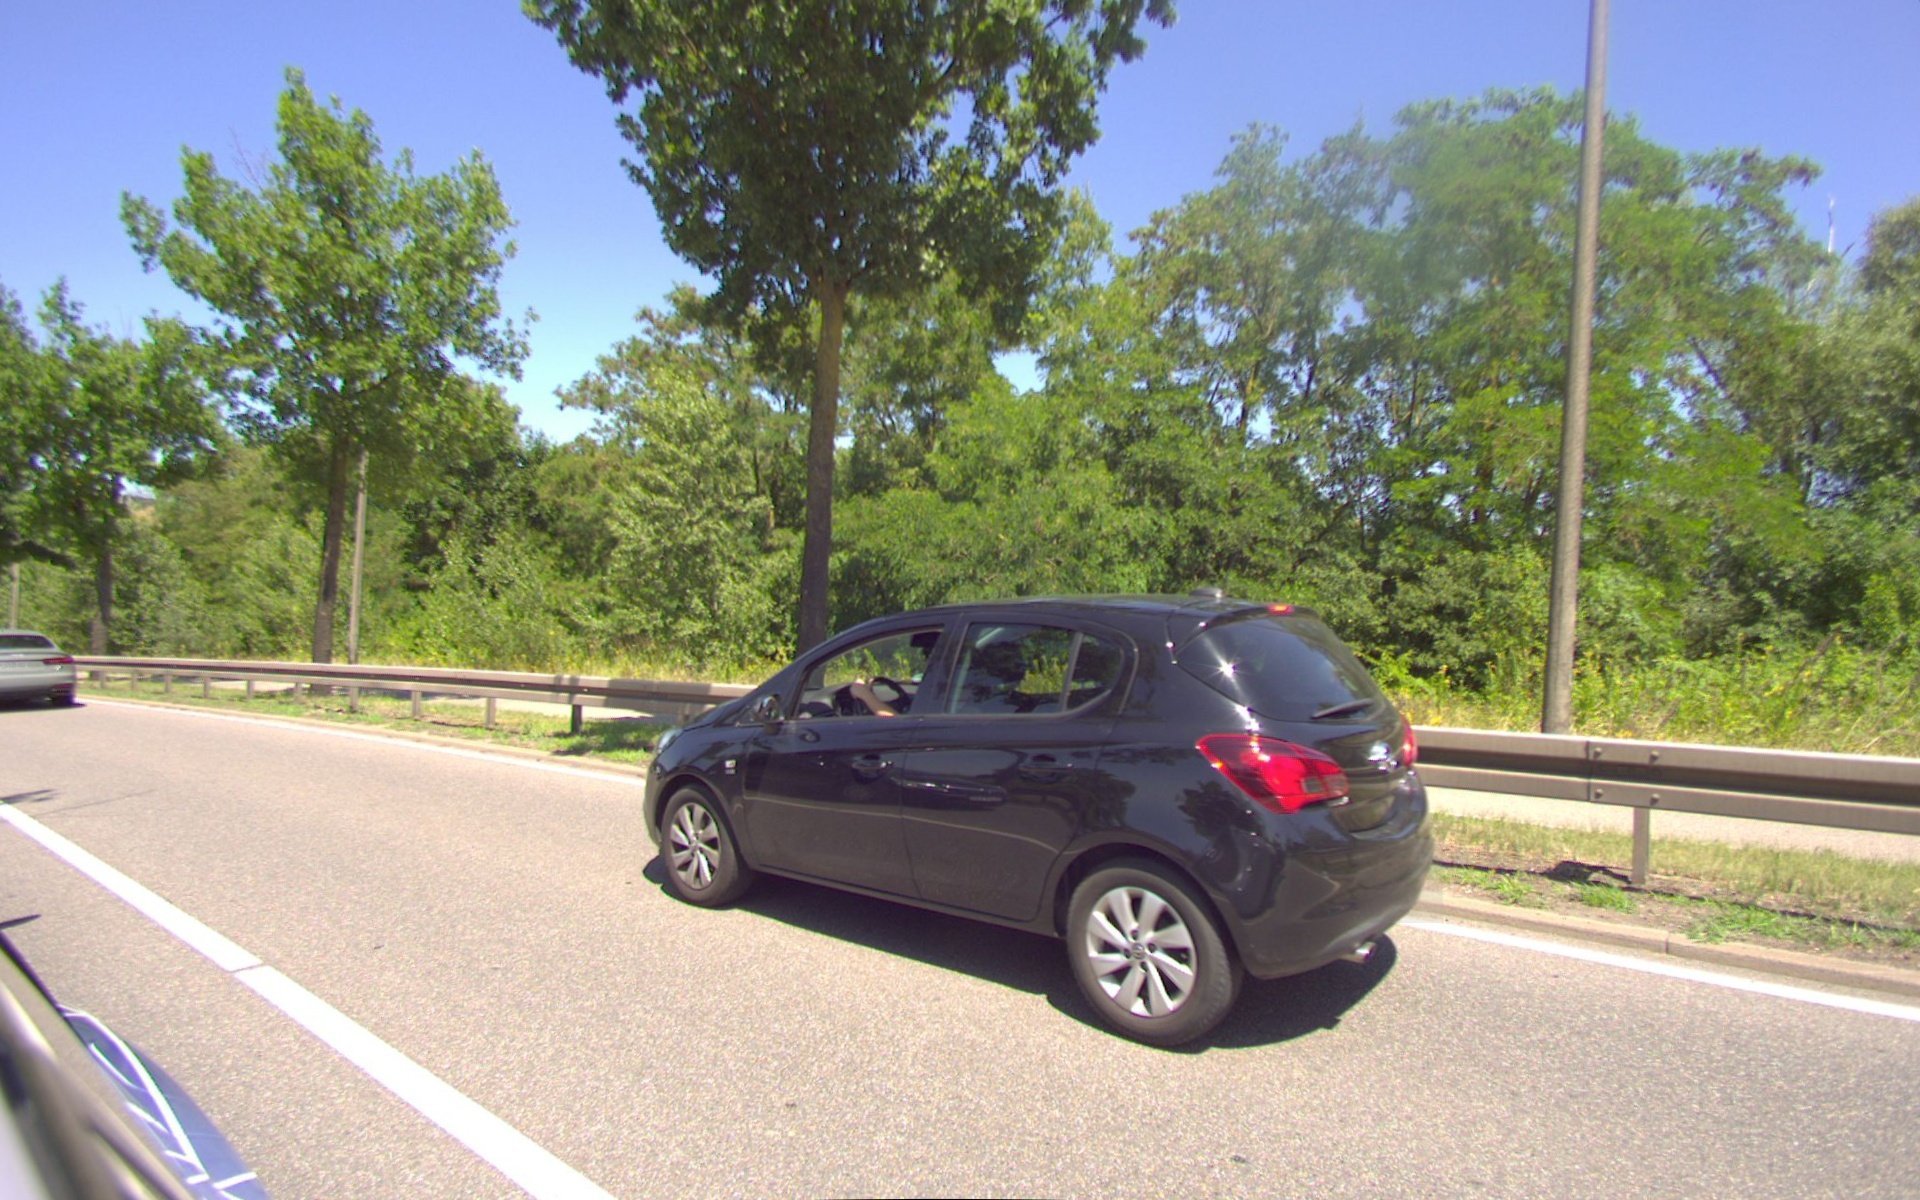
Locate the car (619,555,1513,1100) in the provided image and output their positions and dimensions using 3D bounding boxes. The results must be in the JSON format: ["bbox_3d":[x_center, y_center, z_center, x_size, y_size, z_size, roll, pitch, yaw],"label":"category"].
[{"bbox_3d":[0.207,0.639,4.636,3.818,1.477,1.654,-1,0,41],"label":"car"}]

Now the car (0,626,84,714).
[{"bbox_3d":[-17.170,1.177,17.817,4.398,1.406,1.743,-1,0,37],"label":"car"}]
